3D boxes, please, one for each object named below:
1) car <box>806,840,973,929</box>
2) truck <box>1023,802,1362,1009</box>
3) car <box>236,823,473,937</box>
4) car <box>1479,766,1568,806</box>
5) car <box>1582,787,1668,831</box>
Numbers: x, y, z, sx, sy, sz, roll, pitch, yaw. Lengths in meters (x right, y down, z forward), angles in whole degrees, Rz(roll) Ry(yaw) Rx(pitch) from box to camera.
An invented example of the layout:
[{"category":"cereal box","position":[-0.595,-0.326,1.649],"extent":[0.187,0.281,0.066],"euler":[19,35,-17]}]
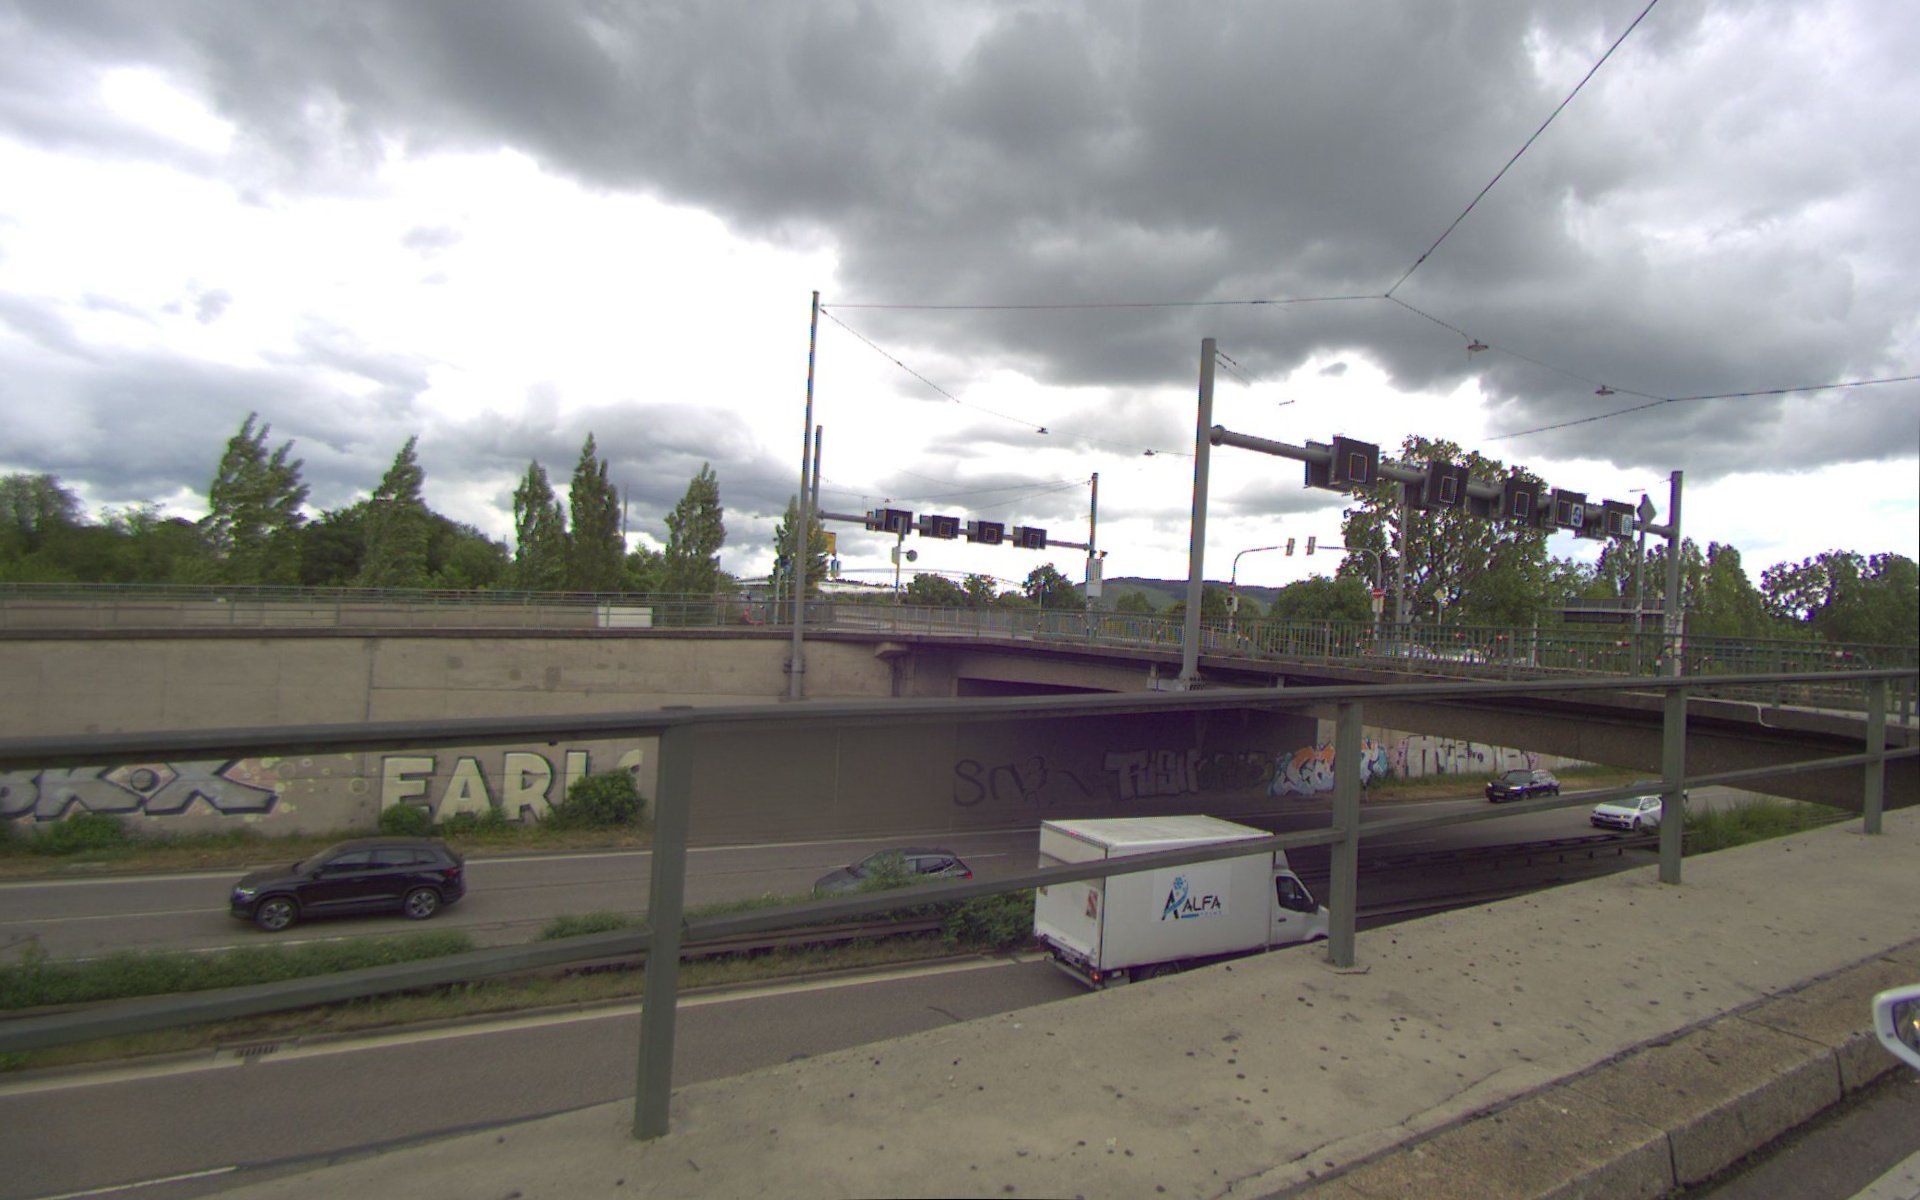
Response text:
[{"category":"car","position":[-1.690,6.796,24.248],"extent":[3.609,1.472,1.706],"euler":[5,-3,-31]},{"category":"truck","position":[4.940,6.000,20.709],"extent":[7.148,3.048,2.222],"euler":[4,-2,-30]},{"category":"car","position":[-12.991,5.971,21.810],"extent":[4.134,1.741,1.873],"euler":[5,-3,-30]},{"category":"car","position":[28.848,9.498,51.419],"extent":[4.526,1.647,1.984],"euler":[4,-4,-30]},{"category":"car","position":[29.546,9.237,44.606],"extent":[3.855,1.513,1.765],"euler":[4,-4,-32]}]
